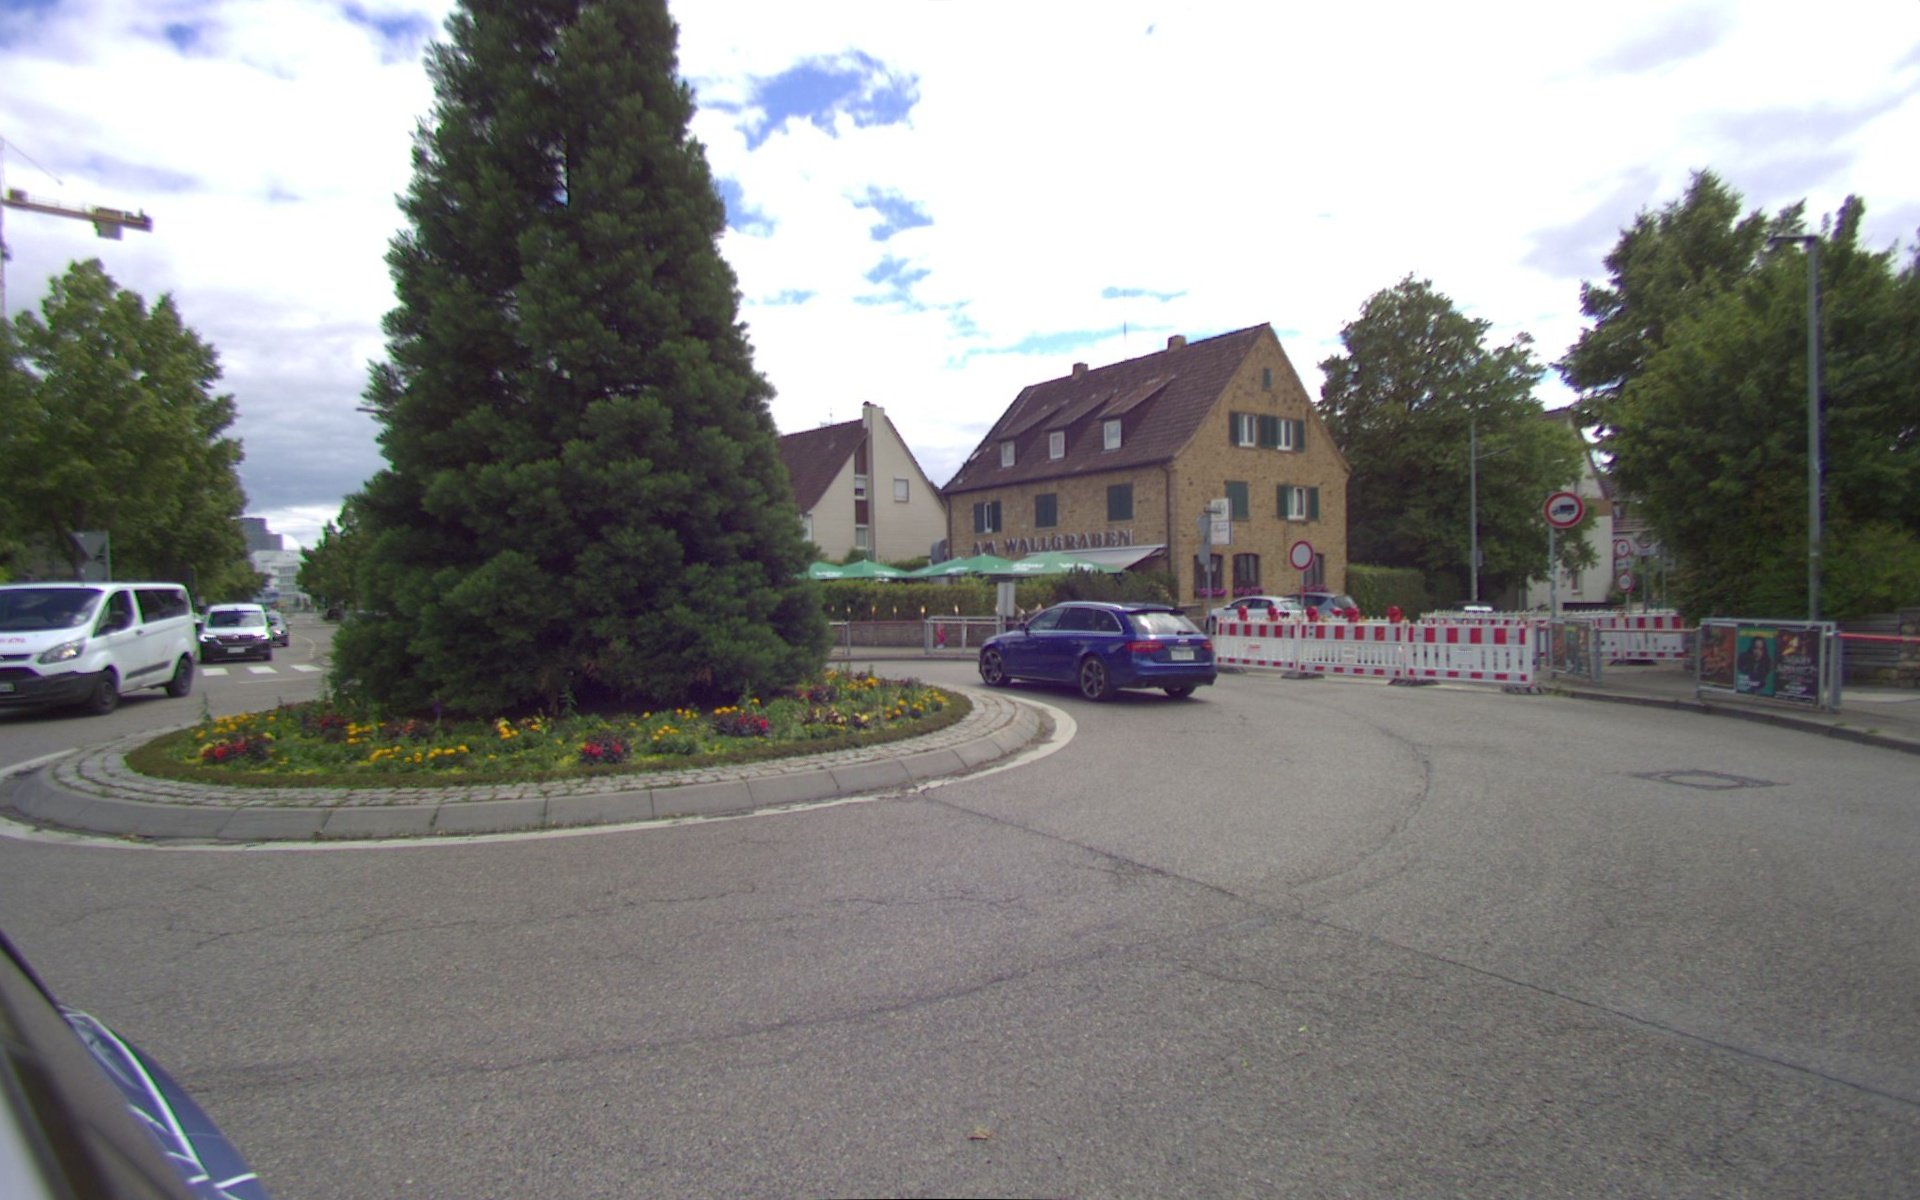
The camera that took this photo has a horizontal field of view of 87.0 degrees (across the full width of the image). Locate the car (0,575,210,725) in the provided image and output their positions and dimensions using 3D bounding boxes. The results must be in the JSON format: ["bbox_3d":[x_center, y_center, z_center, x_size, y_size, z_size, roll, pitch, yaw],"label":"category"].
[{"bbox_3d":[-14.011,0.708,16.062,1.965,2.029,5.066,-1,0,-20],"label":"car"}]

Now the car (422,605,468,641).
[{"bbox_3d":[-28.576,1.279,56.117,1.723,1.843,4.058,-2,0,-34],"label":"car"}]

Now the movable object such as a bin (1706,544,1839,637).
[{"bbox_3d":[27.213,-0.316,33.872,3.641,2.937,2.684,-1,0,-38],"label":"movable object such as a bin"}]

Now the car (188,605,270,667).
[{"bbox_3d":[-22.856,1.076,31.761,1.896,1.767,4.011,-2,0,-34],"label":"car"}]

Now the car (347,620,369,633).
[{"bbox_3d":[-56.439,2.456,94.846,1.474,1.175,3.201,-1,0,-37],"label":"car"}]

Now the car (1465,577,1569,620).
[{"bbox_3d":[18.568,-0.057,33.699,3.555,1.343,1.704,-2,0,-36],"label":"car"}]

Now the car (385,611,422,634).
[{"bbox_3d":[-41.266,1.667,74.952,1.734,1.573,3.753,-1,0,-39],"label":"car"}]

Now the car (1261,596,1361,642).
[{"bbox_3d":[12.623,0.653,36.523,1.375,1.512,3.238,-1,2,-35],"label":"car"}]

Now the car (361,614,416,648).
[{"bbox_3d":[-26.019,1.395,45.997,1.777,1.465,4.704,0,-1,-34],"label":"car"}]

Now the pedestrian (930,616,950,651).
[{"bbox_3d":[-0.561,0.935,28.190,0.424,0.919,0.339,-3,1,16],"label":"pedestrian"}]

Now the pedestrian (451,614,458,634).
[{"bbox_3d":[-34.367,1.618,68.797,0.380,1.375,0.414,-2,0,-35],"label":"pedestrian"}]

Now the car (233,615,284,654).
[{"bbox_3d":[-31.220,1.488,45.123,1.750,1.566,4.011,-2,0,-34],"label":"car"}]

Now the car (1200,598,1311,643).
[{"bbox_3d":[10.353,0.689,35.686,1.444,1.430,3.683,-1,2,-35],"label":"car"}]

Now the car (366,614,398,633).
[{"bbox_3d":[-45.855,1.851,80.245,1.640,1.486,3.753,-1,0,-39],"label":"car"}]

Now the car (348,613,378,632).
[{"bbox_3d":[-50.683,1.919,85.919,1.585,1.545,3.753,-1,0,-39],"label":"car"}]

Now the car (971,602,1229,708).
[{"bbox_3d":[1.981,0.737,15.804,1.586,1.382,4.521,0,0,-29],"label":"car"}]
